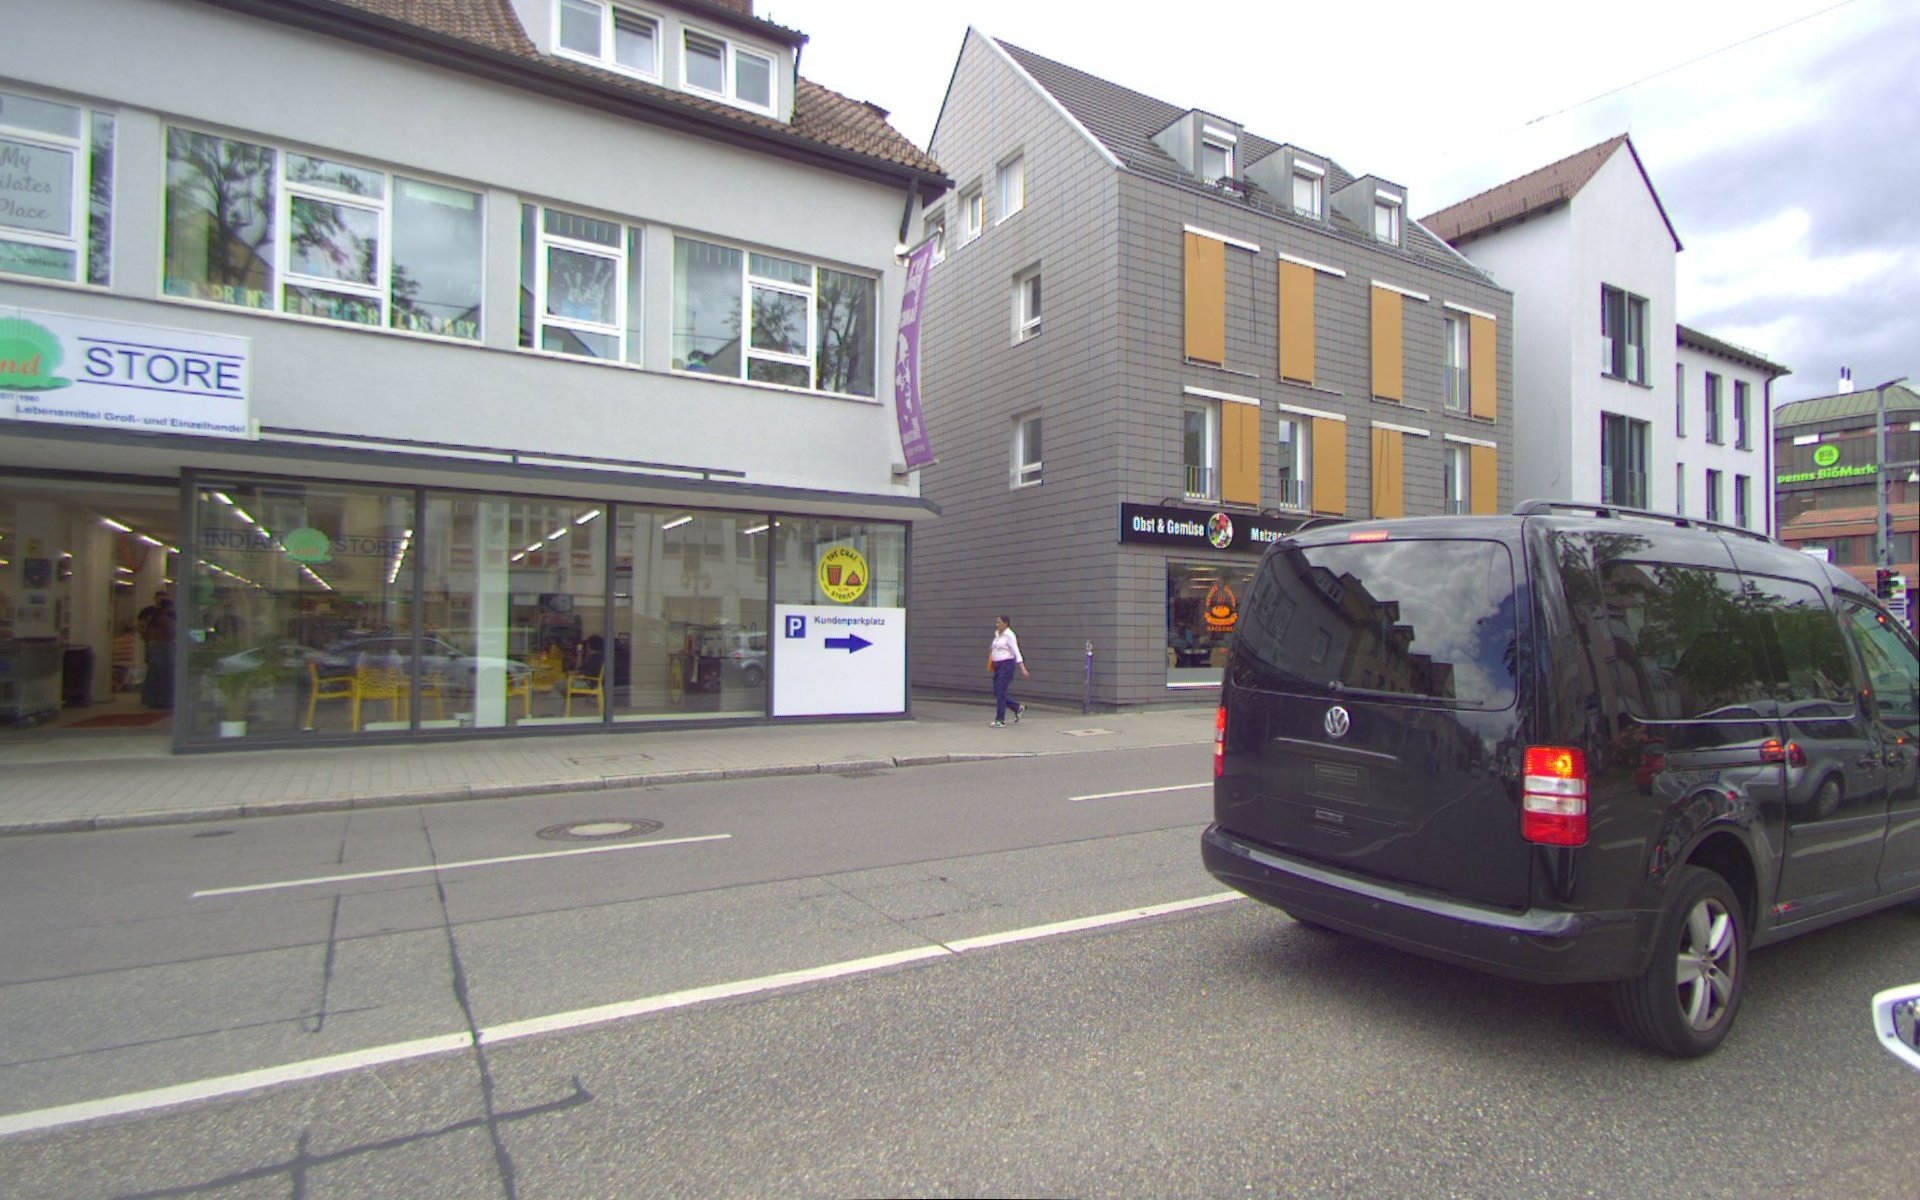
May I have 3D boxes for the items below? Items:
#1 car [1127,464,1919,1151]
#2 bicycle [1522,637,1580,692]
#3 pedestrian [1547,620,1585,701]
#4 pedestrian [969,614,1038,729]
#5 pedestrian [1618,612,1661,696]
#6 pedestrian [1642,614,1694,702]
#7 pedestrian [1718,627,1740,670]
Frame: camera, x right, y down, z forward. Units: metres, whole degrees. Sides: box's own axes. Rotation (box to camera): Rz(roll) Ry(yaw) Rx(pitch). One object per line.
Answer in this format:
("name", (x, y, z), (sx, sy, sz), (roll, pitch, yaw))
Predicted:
("car", (3.108, 0.599, 4.694), (4.581, 1.880, 1.735), (1, 0, -31))
("bicycle", (13.581, 1.459, 23.067), (1.806, 1.201, 0.384), (1, -2, -34))
("pedestrian", (12.841, 1.269, 21.278), (0.643, 1.672, 0.557), (-1, -1, 36))
("pedestrian", (0.639, 1.032, 14.755), (0.744, 1.631, 0.725), (1, -1, -30))
("pedestrian", (14.835, 1.172, 21.921), (0.640, 1.799, 0.565), (1, -1, -34))
("pedestrian", (14.907, 1.198, 21.158), (0.641, 1.814, 0.679), (1, -1, -30))
("pedestrian", (30.322, 1.905, 39.604), (0.654, 1.671, 0.790), (-1, -1, 39))
